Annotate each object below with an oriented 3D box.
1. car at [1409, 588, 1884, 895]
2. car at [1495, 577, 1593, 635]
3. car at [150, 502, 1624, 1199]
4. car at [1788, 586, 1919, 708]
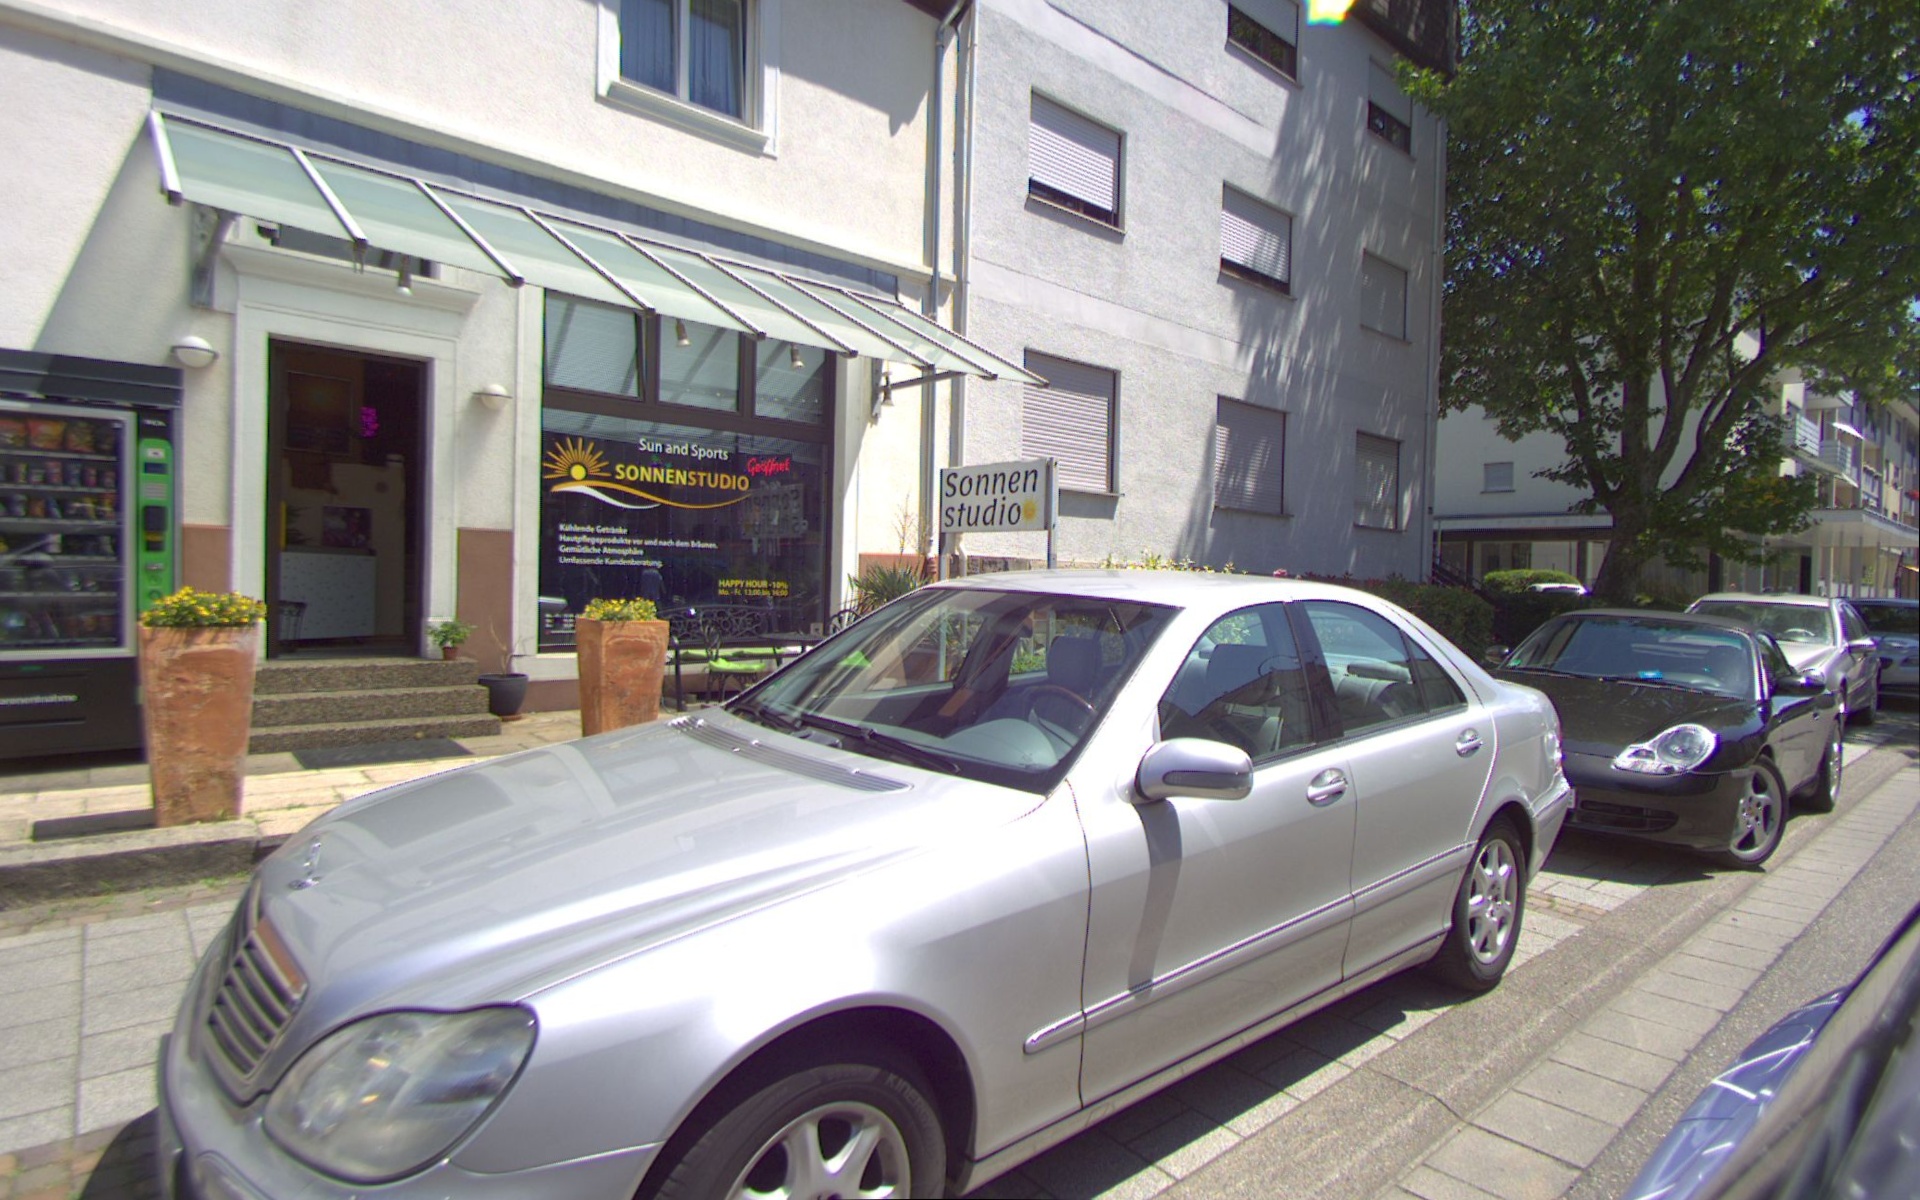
[{"bbox_3d":[4.670,0.640,6.626,4.101,1.357,1.561,0,3,-41],"label":"car"},{"bbox_3d":[16.588,0.112,28.898,1.715,1.518,3.443,1,2,18],"label":"car"},{"bbox_3d":[0.385,0.559,3.367,4.767,1.486,1.748,0,4,-41],"label":"car"},{"bbox_3d":[13.553,0.593,14.632,4.680,1.530,1.831,0,-2,-43],"label":"car"}]
